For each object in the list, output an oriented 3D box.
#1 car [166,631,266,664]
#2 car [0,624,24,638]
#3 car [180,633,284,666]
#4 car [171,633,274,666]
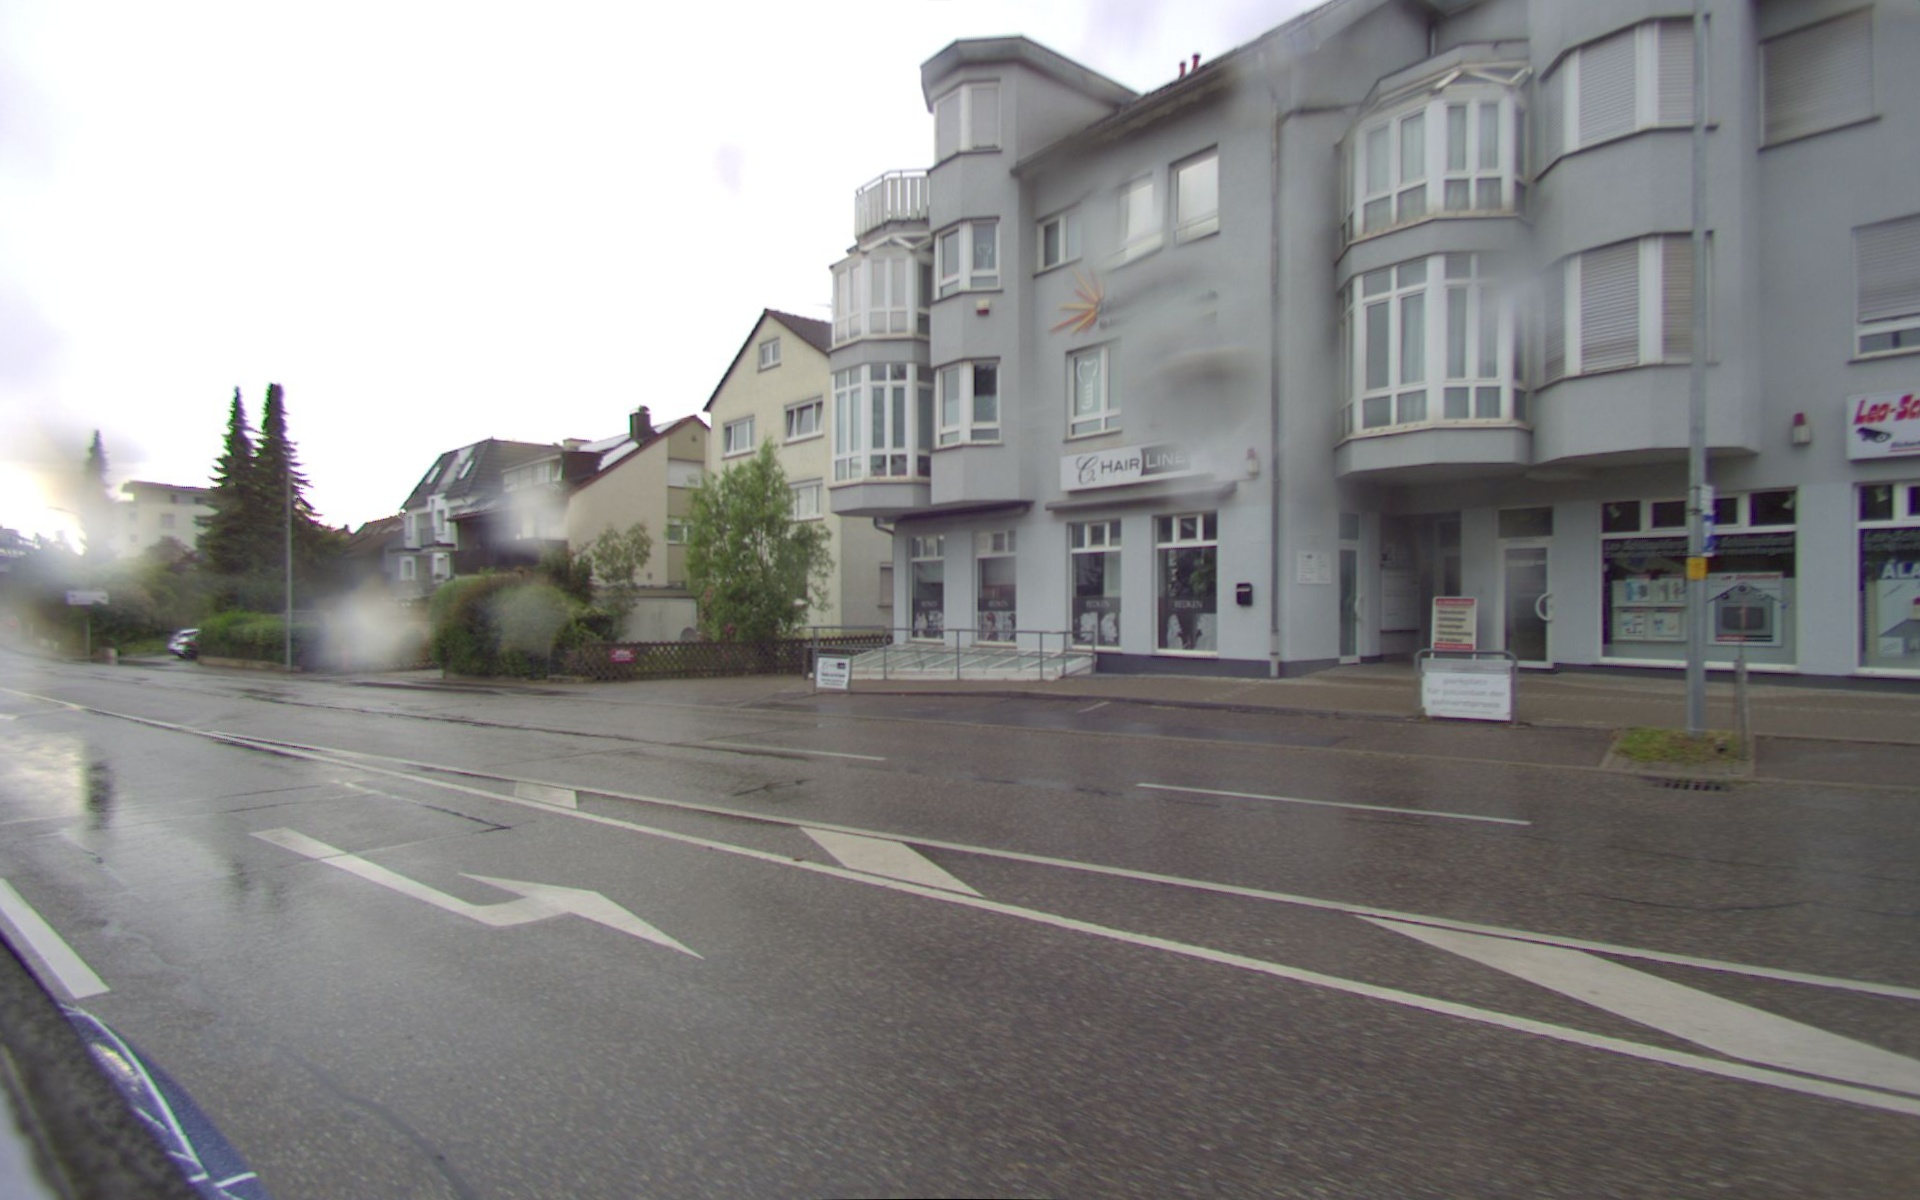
[{"bbox_3d":[-39.947,2.530,54.363,2.001,1.557,4.059,-2,-1,45],"label":"car"},{"bbox_3d":[-112.533,3.653,120.019,1.968,1.628,4.007,1,-2,-39],"label":"car"},{"bbox_3d":[-36.329,2.441,50.556,1.814,1.453,3.980,-2,-1,45],"label":"car"},{"bbox_3d":[-38.110,2.523,52.323,4.097,1.453,1.892,-1,-1,-43],"label":"car"}]
